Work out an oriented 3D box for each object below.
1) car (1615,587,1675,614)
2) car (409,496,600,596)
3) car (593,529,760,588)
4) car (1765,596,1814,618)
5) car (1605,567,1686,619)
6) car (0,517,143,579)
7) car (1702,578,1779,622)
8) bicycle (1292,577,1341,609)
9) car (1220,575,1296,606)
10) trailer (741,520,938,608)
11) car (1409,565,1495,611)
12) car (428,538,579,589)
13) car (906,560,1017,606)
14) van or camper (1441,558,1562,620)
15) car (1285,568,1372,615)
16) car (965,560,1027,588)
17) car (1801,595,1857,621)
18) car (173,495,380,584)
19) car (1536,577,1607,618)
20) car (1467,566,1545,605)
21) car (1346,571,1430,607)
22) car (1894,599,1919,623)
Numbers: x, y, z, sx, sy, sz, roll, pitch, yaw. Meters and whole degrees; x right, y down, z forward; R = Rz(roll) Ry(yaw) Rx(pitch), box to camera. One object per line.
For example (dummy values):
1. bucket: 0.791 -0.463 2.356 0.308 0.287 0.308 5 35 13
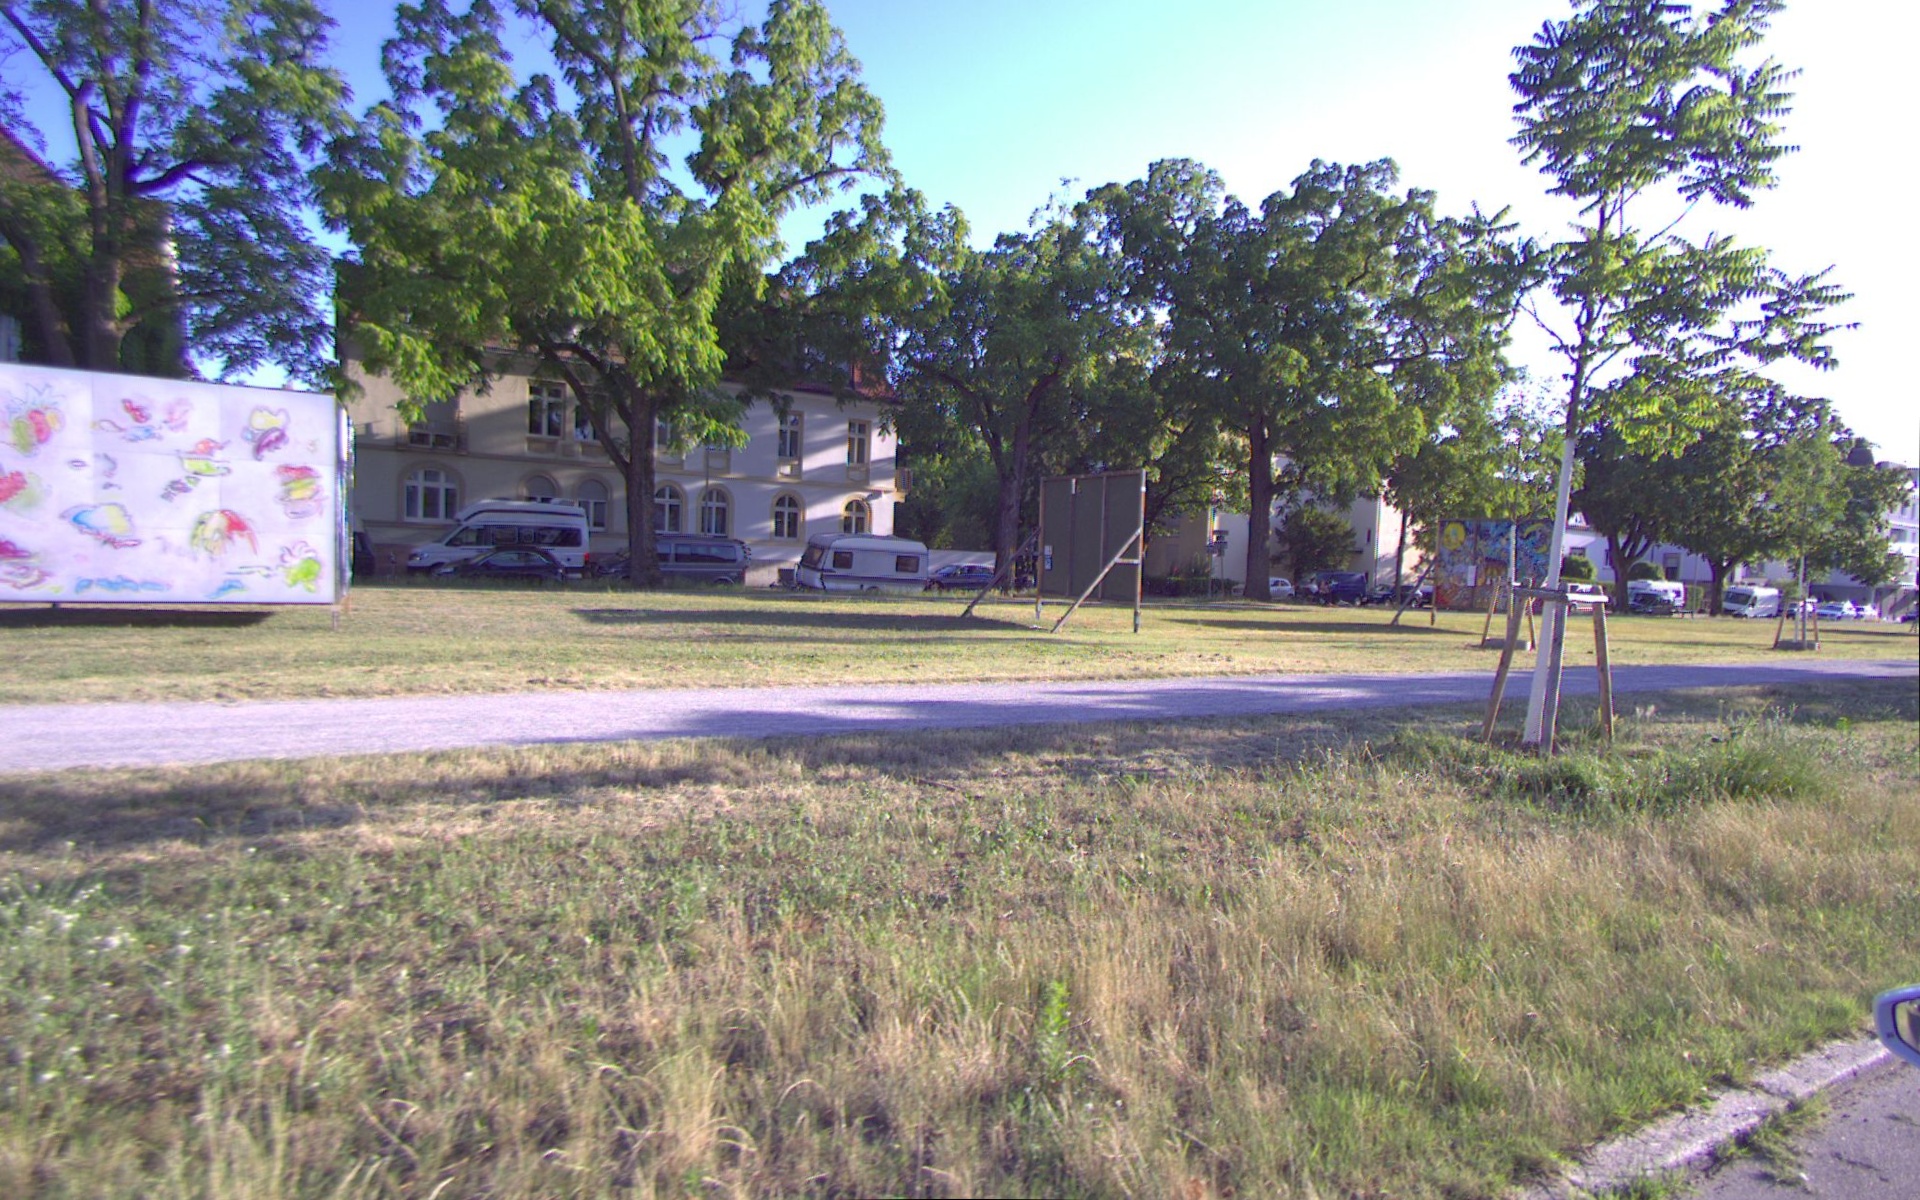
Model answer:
1. car: 43.269 0.055 63.443 4.260 1.585 1.406 1 2 -31
2. car: -16.060 -1.809 35.526 6.003 3.293 1.984 0 2 -30
3. car: -9.268 -1.348 32.944 4.896 1.664 1.983 1 3 -32
4. car: 72.451 0.614 87.710 4.612 1.725 1.773 2 -2 -30
5. car: 51.222 -0.447 75.014 6.685 3.606 2.293 2 -2 -30
6. car: -25.339 -1.406 26.874 5.110 1.546 1.984 1 2 -29
7. car: 54.738 0.073 70.433 5.801 2.863 2.250 2 -2 -30
8. bicycle: 15.627 -0.311 44.027 2.300 1.360 0.509 1 2 -27
9. car: 16.314 -0.492 54.944 3.767 1.563 1.983 1 2 -32
10. trailer: -4.225 -1.147 35.748 6.560 2.694 2.461 2 -2 -31
11. car: 31.496 -0.719 64.206 6.019 2.632 1.984 2 -2 -30
12. car: -13.696 -1.094 30.211 3.990 1.333 1.846 1 3 -27
13. car: 0.083 -0.756 45.279 4.657 1.938 1.881 0 2 -29
14. van or camper: 30.253 -0.607 56.033 6.820 3.307 2.630 0 2 -29
15. car: 21.182 -0.449 57.710 5.055 2.450 1.929 2 -2 -29
16. car: 2.337 -1.733 66.563 2.156 1.703 4.111 1 2 -31
17. car: 67.926 0.654 78.487 4.586 1.924 1.826 2 -2 -29
18. car: -18.478 -1.589 27.437 4.520 2.204 1.982 0 2 -32
19. car: 42.815 -0.136 70.269 5.266 2.638 2.124 2 -2 -32
20. car: 30.511 -0.821 56.171 3.951 2.041 1.984 0 2 -29
21. car: 25.821 -0.673 60.548 4.988 2.031 1.961 1 2 -29
22. car: 83.440 1.001 87.528 4.276 1.942 1.881 2 -2 -30
